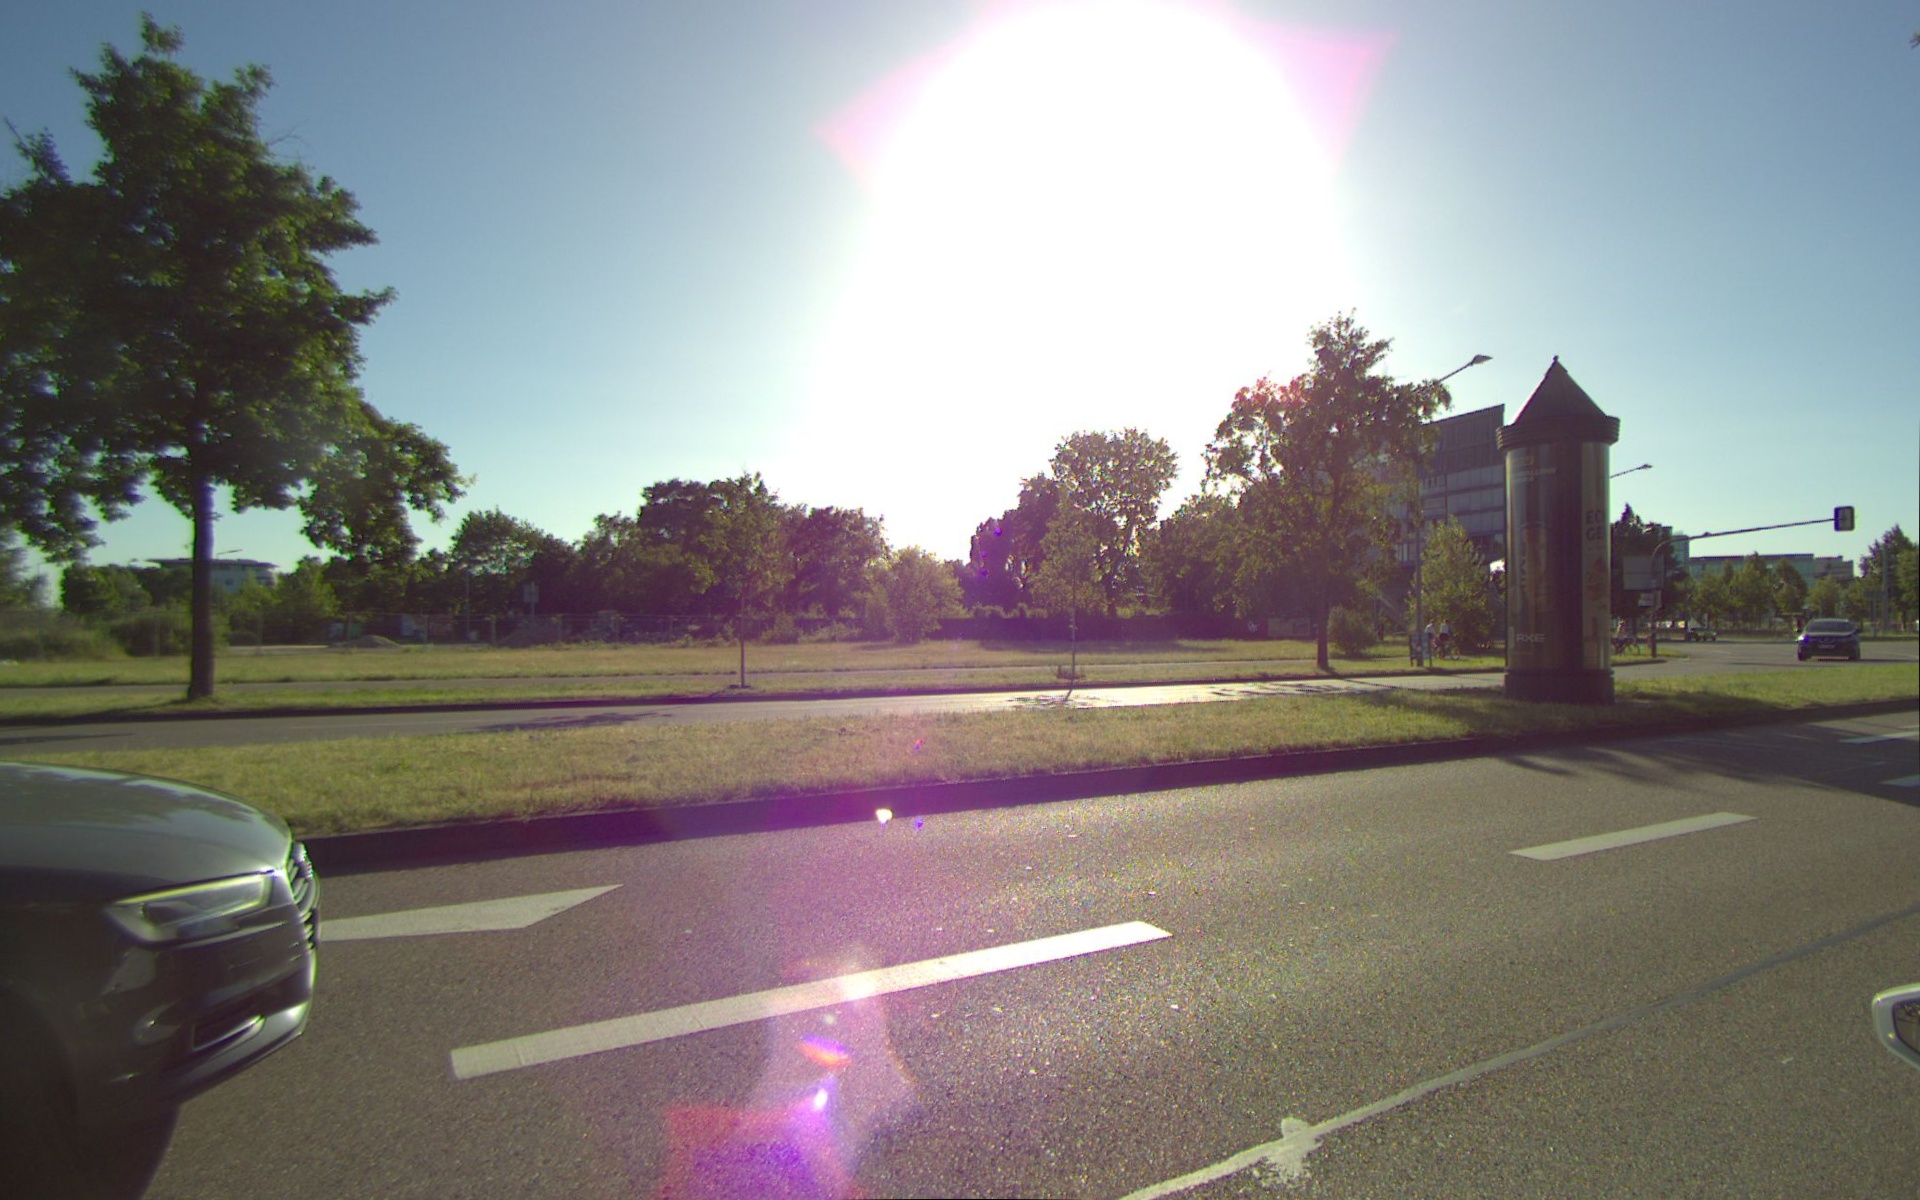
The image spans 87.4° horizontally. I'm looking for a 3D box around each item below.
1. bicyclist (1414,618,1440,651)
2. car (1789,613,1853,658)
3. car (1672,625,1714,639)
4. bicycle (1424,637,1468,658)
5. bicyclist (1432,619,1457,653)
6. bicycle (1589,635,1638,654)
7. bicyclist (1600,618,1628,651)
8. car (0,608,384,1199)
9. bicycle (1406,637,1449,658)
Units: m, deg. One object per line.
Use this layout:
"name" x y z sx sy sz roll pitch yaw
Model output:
"bicyclist" 20.205 1.500 43.437 0.826 1.411 0.613 0 -1 -24
"car" 36.364 1.487 42.449 1.971 1.762 4.714 -1 -2 41
"car" 84.773 3.689 116.250 1.969 1.561 4.327 0 -1 4
"bicycle" 20.441 1.984 42.210 1.863 0.864 0.613 0 -1 -25
"bicyclist" 20.359 1.506 42.228 0.709 1.411 0.613 0 -1 -24
"bicycle" 30.617 2.087 47.082 0.608 0.864 1.879 0 -1 -23
"bicyclist" 30.639 1.616 47.042 0.608 1.537 0.920 0 -1 -23
"car" -3.811 0.703 2.207 4.314 1.398 1.749 1 -1 -34
"bicycle" 20.222 2.050 43.426 1.863 0.864 0.613 0 -1 -25
